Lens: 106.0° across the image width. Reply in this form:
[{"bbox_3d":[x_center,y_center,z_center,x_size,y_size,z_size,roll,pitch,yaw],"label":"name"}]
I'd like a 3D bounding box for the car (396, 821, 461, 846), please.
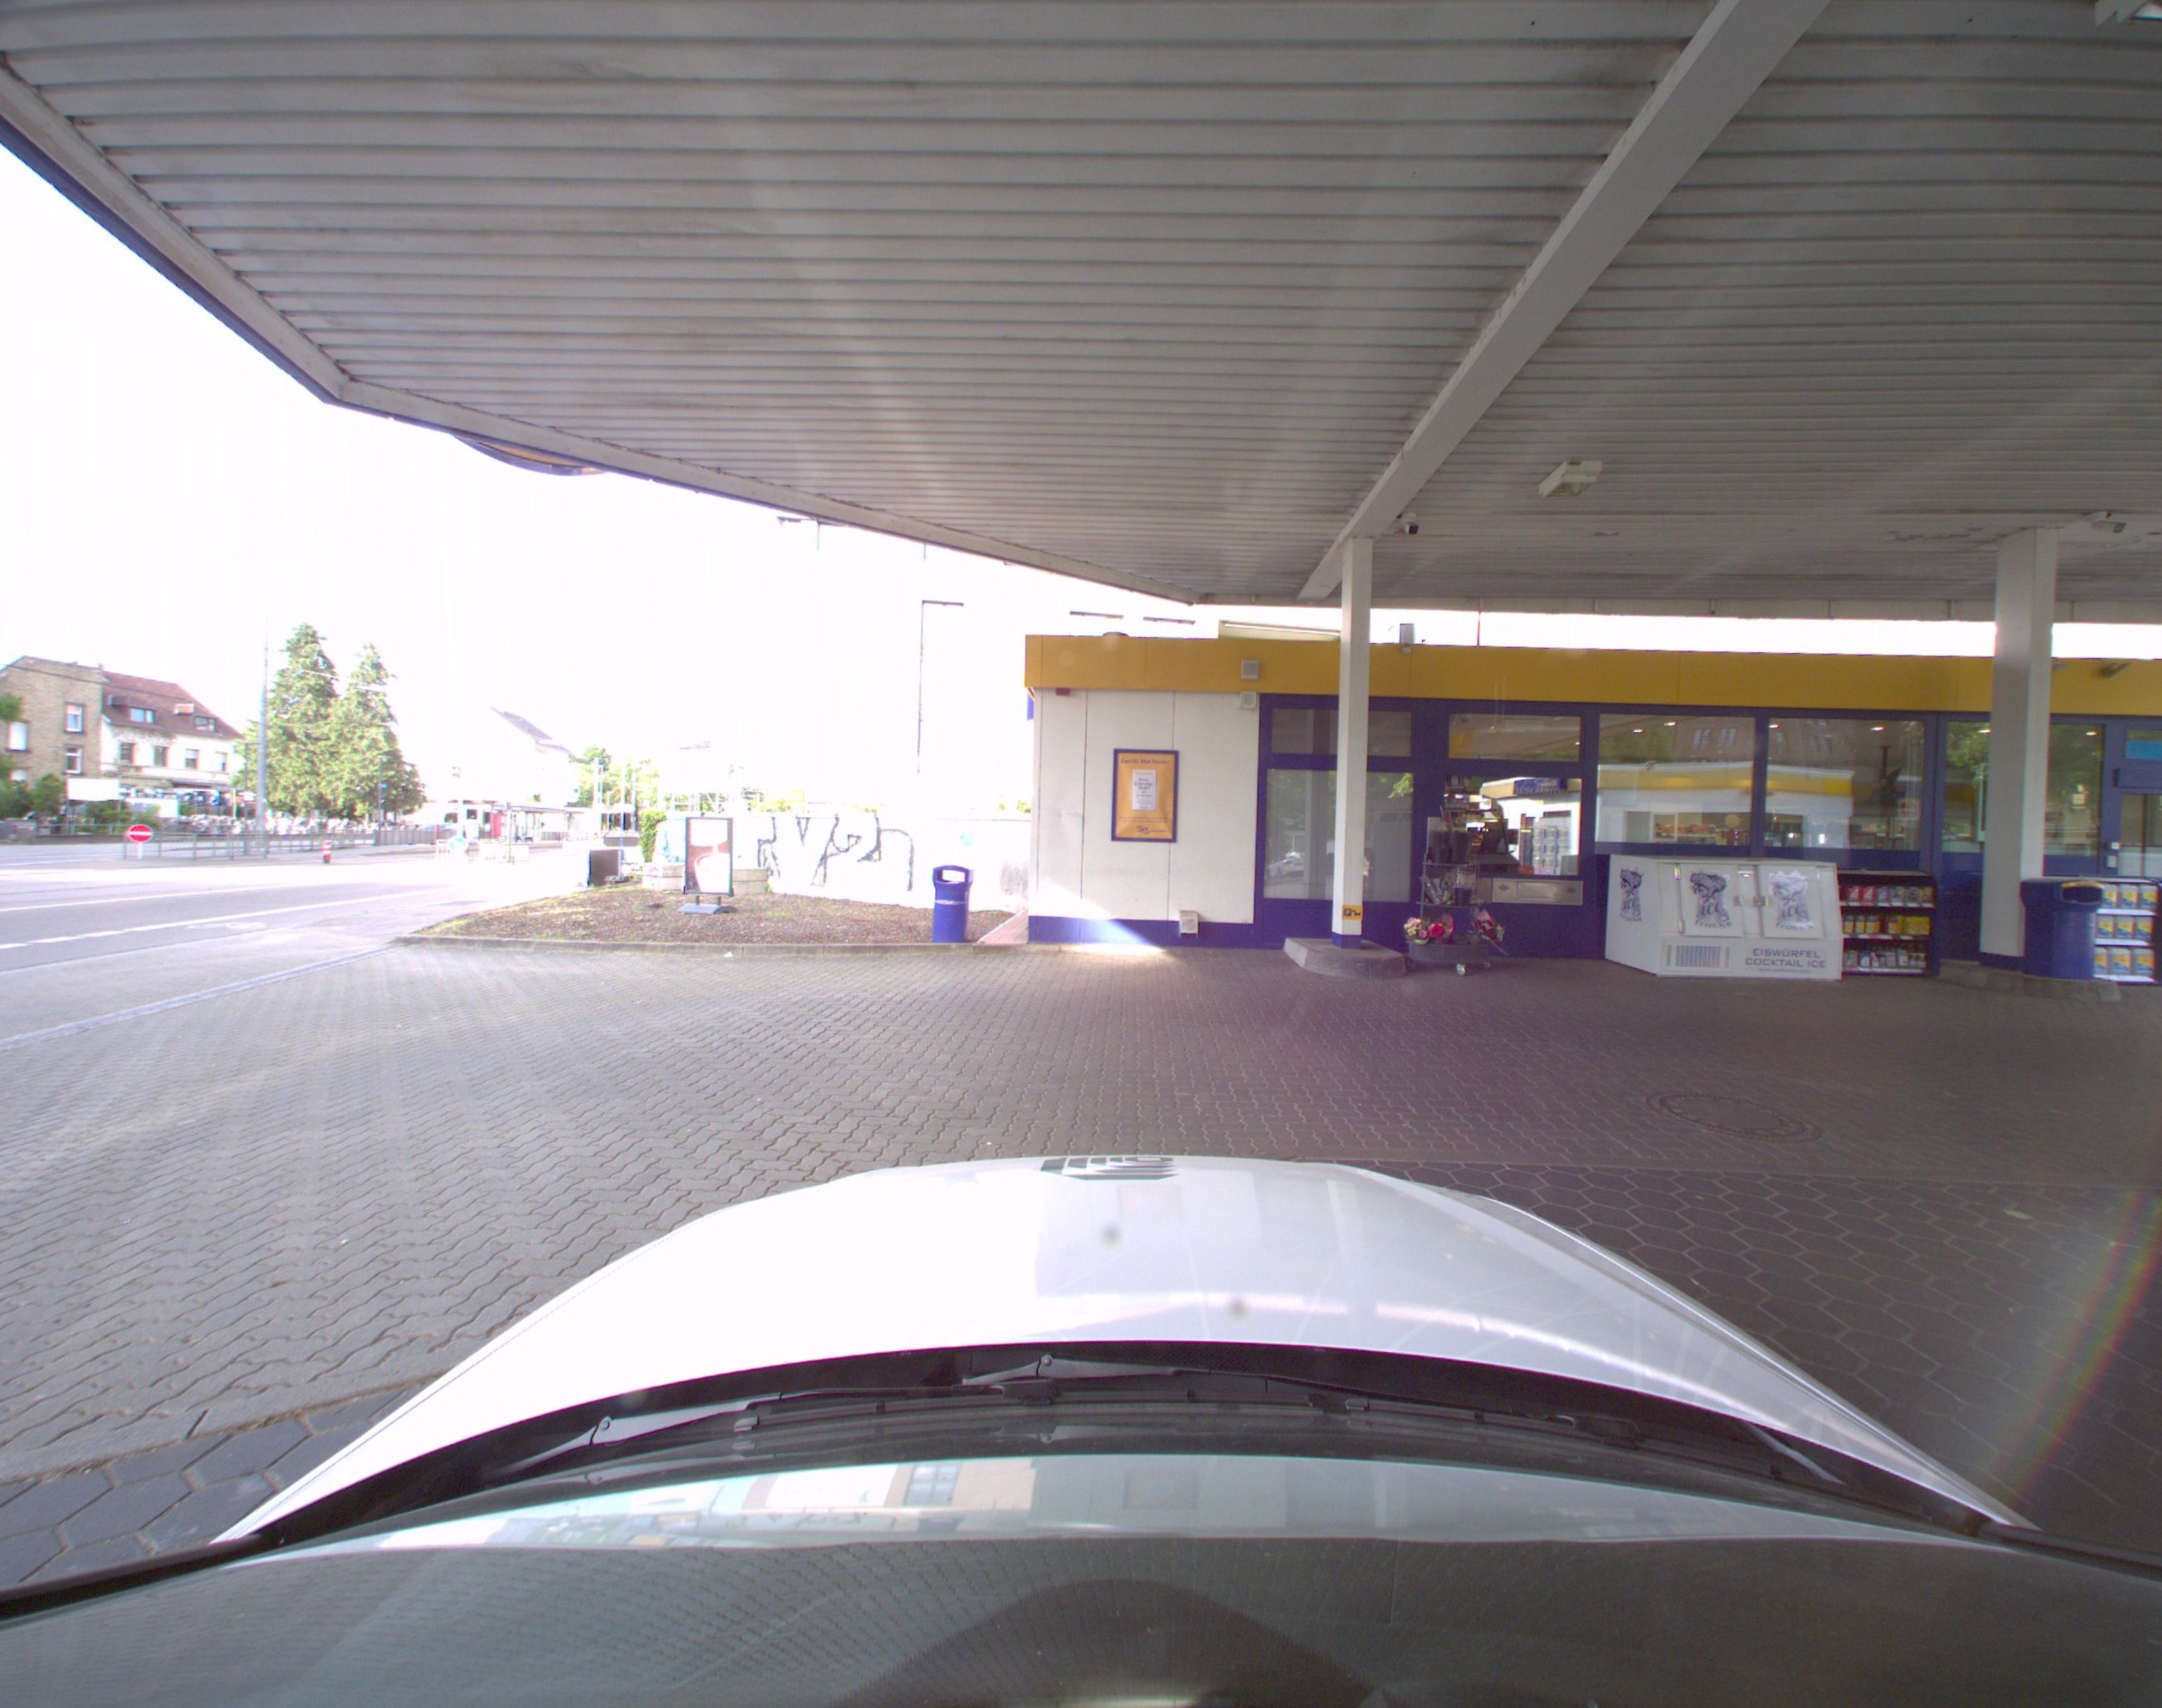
[{"bbox_3d":[-42.142,-1.330,52.722,1.862,1.469,4.115,1,1,-17],"label":"car"}]
